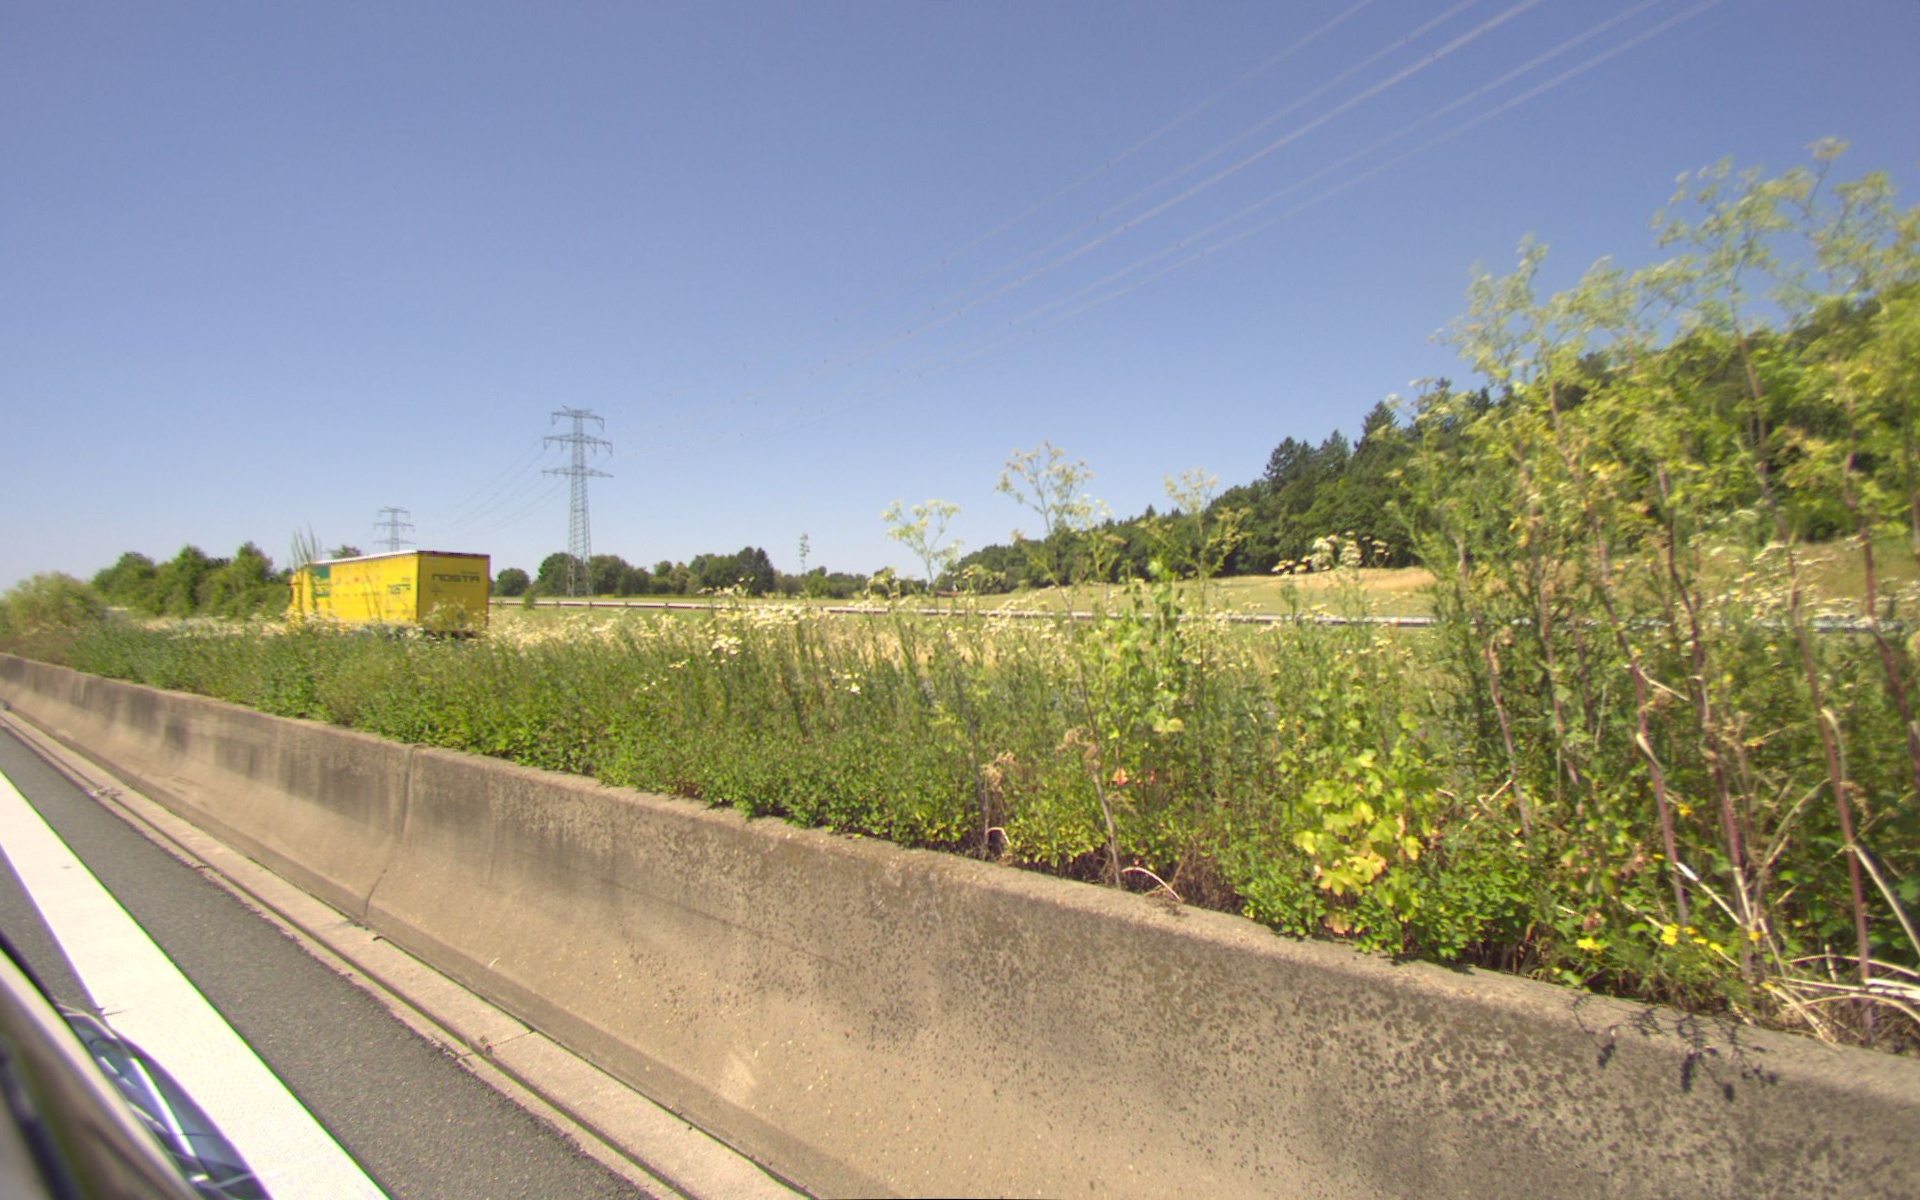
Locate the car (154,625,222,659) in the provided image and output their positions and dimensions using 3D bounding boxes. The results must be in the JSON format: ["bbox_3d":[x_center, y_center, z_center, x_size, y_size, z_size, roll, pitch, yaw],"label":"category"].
[{"bbox_3d":[-36.255,1.938,47.499,4.098,1.476,1.849,-2,-1,42],"label":"car"}]

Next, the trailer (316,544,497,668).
[{"bbox_3d":[-21.710,0.205,39.294,10.684,4.238,2.791,0,1,42],"label":"trailer"}]

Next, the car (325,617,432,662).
[{"bbox_3d":[-16.651,1.092,28.938,3.340,1.139,1.658,-1,0,41],"label":"car"}]

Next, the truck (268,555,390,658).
[{"bbox_3d":[-28.384,0.258,45.389,7.324,4.268,2.748,0,1,43],"label":"truck"}]

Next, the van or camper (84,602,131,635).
[{"bbox_3d":[-79.525,1.718,94.367,7.068,2.859,2.524,-1,0,43],"label":"van or camper"}]
